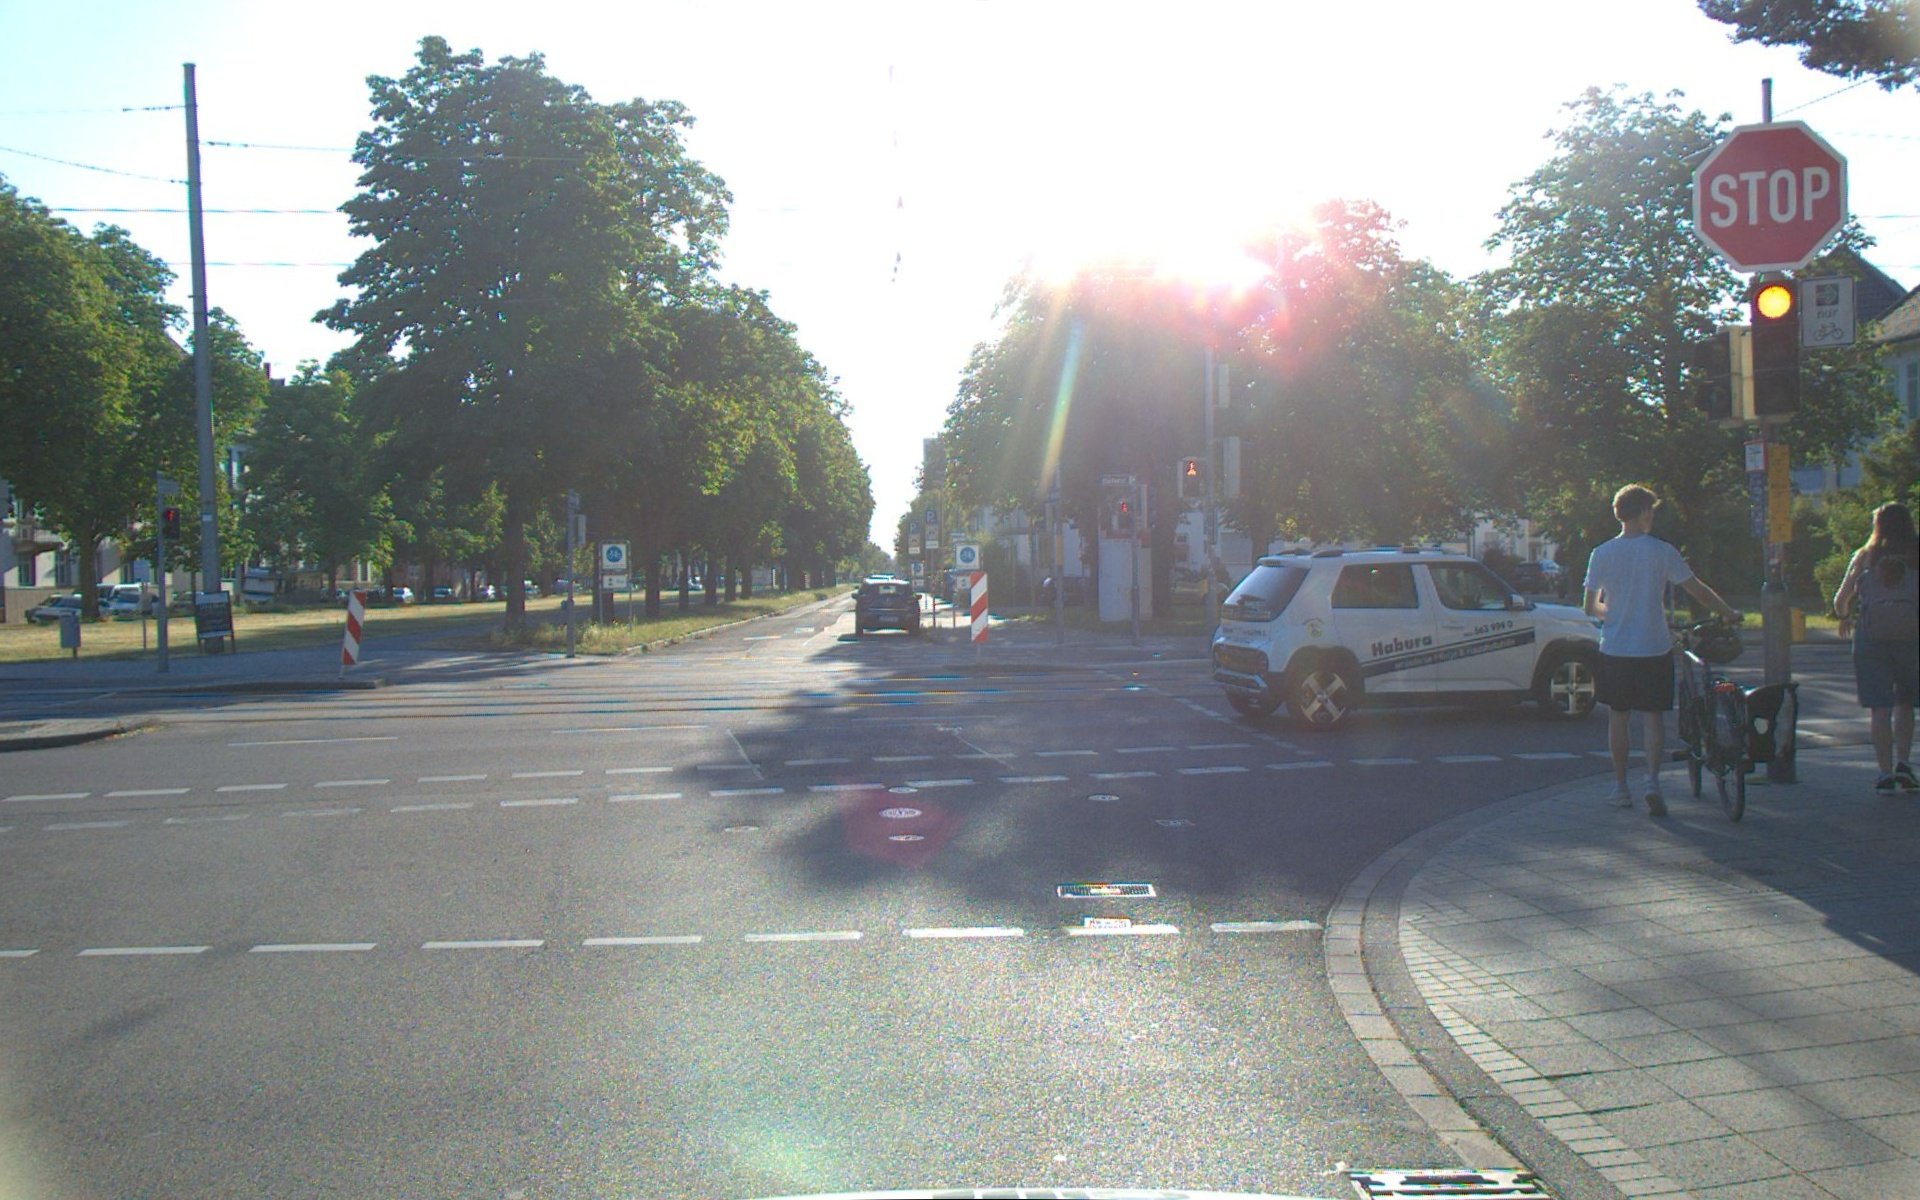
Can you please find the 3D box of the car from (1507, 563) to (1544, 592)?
[{"bbox_3d":[28.893,-1.142,84.461,1.629,1.442,3.543,-1,1,21],"label":"car"}]

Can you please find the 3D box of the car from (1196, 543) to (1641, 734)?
[{"bbox_3d":[4.319,0.299,15.726,3.799,1.578,1.606,-2,3,-14],"label":"car"}]

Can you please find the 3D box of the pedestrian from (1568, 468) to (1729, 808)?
[{"bbox_3d":[4.074,0.225,9.848,0.656,1.897,0.882,-4,-2,16],"label":"pedestrian"}]

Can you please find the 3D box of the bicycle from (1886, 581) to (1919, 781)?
[{"bbox_3d":[5.750,0.479,9.331,0.476,1.162,1.599,-3,1,15],"label":"bicycle"}]

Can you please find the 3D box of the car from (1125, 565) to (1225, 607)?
[{"bbox_3d":[8.484,-0.579,65.443,3.704,1.552,1.743,-1,2,-3],"label":"car"}]

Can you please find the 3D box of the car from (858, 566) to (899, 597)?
[{"bbox_3d":[-3.827,-0.872,78.072,1.808,1.418,3.828,0,1,-2],"label":"car"}]

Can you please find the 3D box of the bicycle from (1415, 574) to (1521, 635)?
[{"bbox_3d":[10.119,0.085,33.002,1.914,1.152,0.620,-1,0,0],"label":"bicycle"}]

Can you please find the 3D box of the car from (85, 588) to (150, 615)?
[{"bbox_3d":[-46.500,0.065,91.343,1.703,1.452,3.791,-1,1,-2],"label":"car"}]

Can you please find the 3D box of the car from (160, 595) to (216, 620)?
[{"bbox_3d":[-47.401,0.454,101.602,1.703,1.452,3.791,-1,1,-2],"label":"car"}]

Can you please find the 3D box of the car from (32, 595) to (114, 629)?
[{"bbox_3d":[-39.982,0.521,74.634,1.703,1.452,3.791,-1,1,-2],"label":"car"}]

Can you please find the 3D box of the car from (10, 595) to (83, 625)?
[{"bbox_3d":[-47.024,0.498,85.245,1.703,1.452,3.791,-1,1,-2],"label":"car"}]

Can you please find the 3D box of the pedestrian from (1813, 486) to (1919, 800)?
[{"bbox_3d":[5.399,0.229,9.536,0.655,1.737,0.623,-4,1,17],"label":"pedestrian"}]

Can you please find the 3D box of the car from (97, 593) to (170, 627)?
[{"bbox_3d":[-40.315,0.451,80.757,1.703,1.452,3.792,-1,2,-2],"label":"car"}]

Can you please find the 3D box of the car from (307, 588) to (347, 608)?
[{"bbox_3d":[-48.070,-0.166,125.668,1.703,1.452,3.791,-1,1,-2],"label":"car"}]

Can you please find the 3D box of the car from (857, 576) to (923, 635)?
[{"bbox_3d":[-1.818,0.118,43.848,1.607,1.476,3.307,-1,1,0],"label":"car"}]

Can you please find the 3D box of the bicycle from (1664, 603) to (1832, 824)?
[{"bbox_3d":[4.510,0.600,9.567,0.476,1.116,1.792,-3,0,14],"label":"bicycle"}]

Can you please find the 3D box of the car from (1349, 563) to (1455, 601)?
[{"bbox_3d":[17.695,-0.737,66.301,3.772,1.452,1.595,-1,1,-7],"label":"car"}]

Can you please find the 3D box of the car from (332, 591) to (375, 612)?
[{"bbox_3d":[-42.306,0.097,115.509,1.703,1.452,3.791,-1,1,-2],"label":"car"}]

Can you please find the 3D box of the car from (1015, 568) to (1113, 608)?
[{"bbox_3d":[4.071,-0.488,65.049,3.704,1.452,1.743,-1,2,-3],"label":"car"}]
